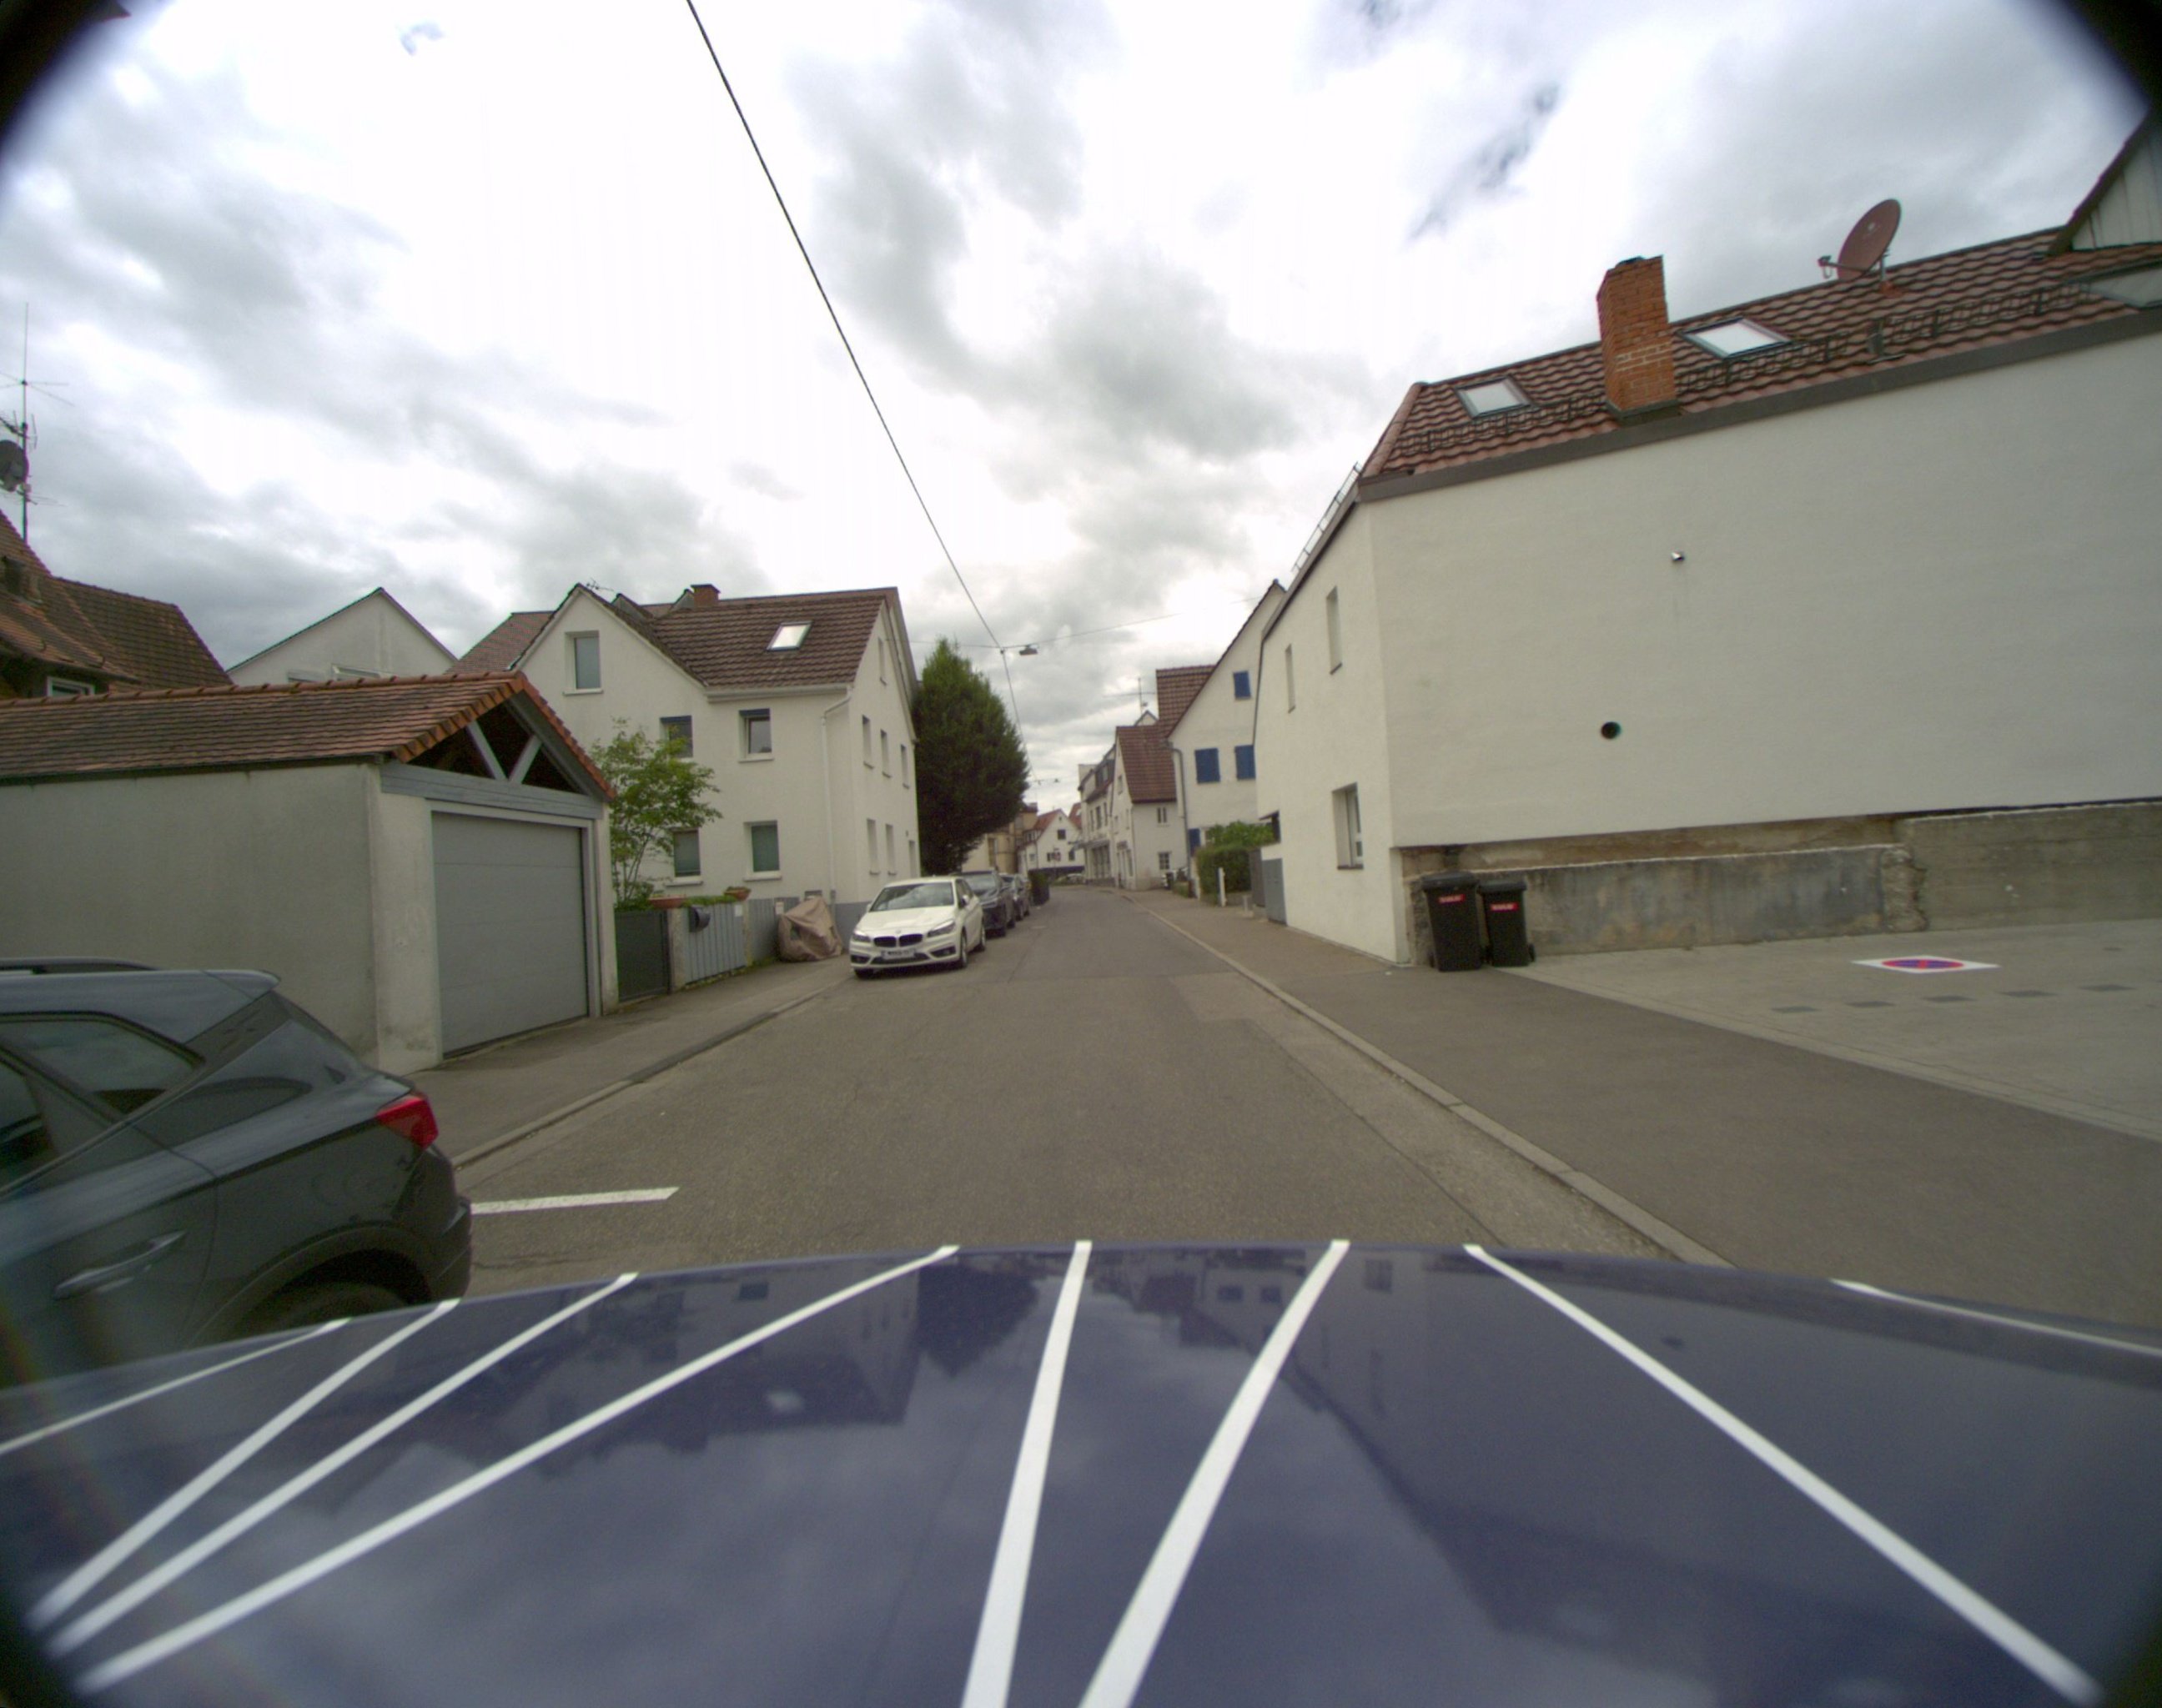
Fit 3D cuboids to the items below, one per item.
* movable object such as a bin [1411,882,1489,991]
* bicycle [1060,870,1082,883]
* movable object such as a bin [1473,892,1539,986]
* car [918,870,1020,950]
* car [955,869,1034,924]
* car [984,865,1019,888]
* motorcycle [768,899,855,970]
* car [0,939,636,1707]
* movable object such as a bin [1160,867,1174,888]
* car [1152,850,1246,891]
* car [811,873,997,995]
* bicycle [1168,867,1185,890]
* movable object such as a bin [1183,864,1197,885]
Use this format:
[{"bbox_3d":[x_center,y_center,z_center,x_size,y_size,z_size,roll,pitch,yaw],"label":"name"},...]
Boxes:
[{"bbox_3d":[4.003,0.884,8.293,0.615,1.069,0.753,-6,0,22],"label":"movable object such as a bin"},{"bbox_3d":[-0.997,2.276,76.556,1.983,1.232,0.743,-3,-2,-27],"label":"bicycle"},{"bbox_3d":[4.537,0.894,8.132,0.450,0.900,0.572,-7,0,22],"label":"movable object such as a bin"},{"bbox_3d":[-2.724,1.317,19.634,1.868,1.623,4.901,-3,0,-1],"label":"car"},{"bbox_3d":[-2.794,1.342,25.582,1.953,1.499,4.821,-4,-1,1],"label":"car"},{"bbox_3d":[-6.973,1.994,66.102,1.833,1.781,4.212,-4,-1,-23],"label":"car"},{"bbox_3d":[-5.340,1.568,15.229,0.820,1.166,2.170,-2,0,3],"label":"motorcycle"},{"bbox_3d":[-2.659,1.178,0.594,1.758,1.618,4.535,-5,-1,1],"label":"car"},{"bbox_3d":[4.349,1.188,38.425,0.554,0.993,0.587,-9,-3,10],"label":"movable object such as a bin"},{"bbox_3d":[6.414,0.879,41.565,4.550,1.492,1.976,-8,3,-5],"label":"car"},{"bbox_3d":[-2.897,1.245,13.714,1.998,1.606,4.879,-5,-1,1],"label":"car"},{"bbox_3d":[4.669,1.183,37.181,0.443,1.032,2.095,-8,-2,14],"label":"bicycle"},{"bbox_3d":[5.524,1.041,38.427,0.556,0.994,0.623,-10,-2,9],"label":"movable object such as a bin"}]
